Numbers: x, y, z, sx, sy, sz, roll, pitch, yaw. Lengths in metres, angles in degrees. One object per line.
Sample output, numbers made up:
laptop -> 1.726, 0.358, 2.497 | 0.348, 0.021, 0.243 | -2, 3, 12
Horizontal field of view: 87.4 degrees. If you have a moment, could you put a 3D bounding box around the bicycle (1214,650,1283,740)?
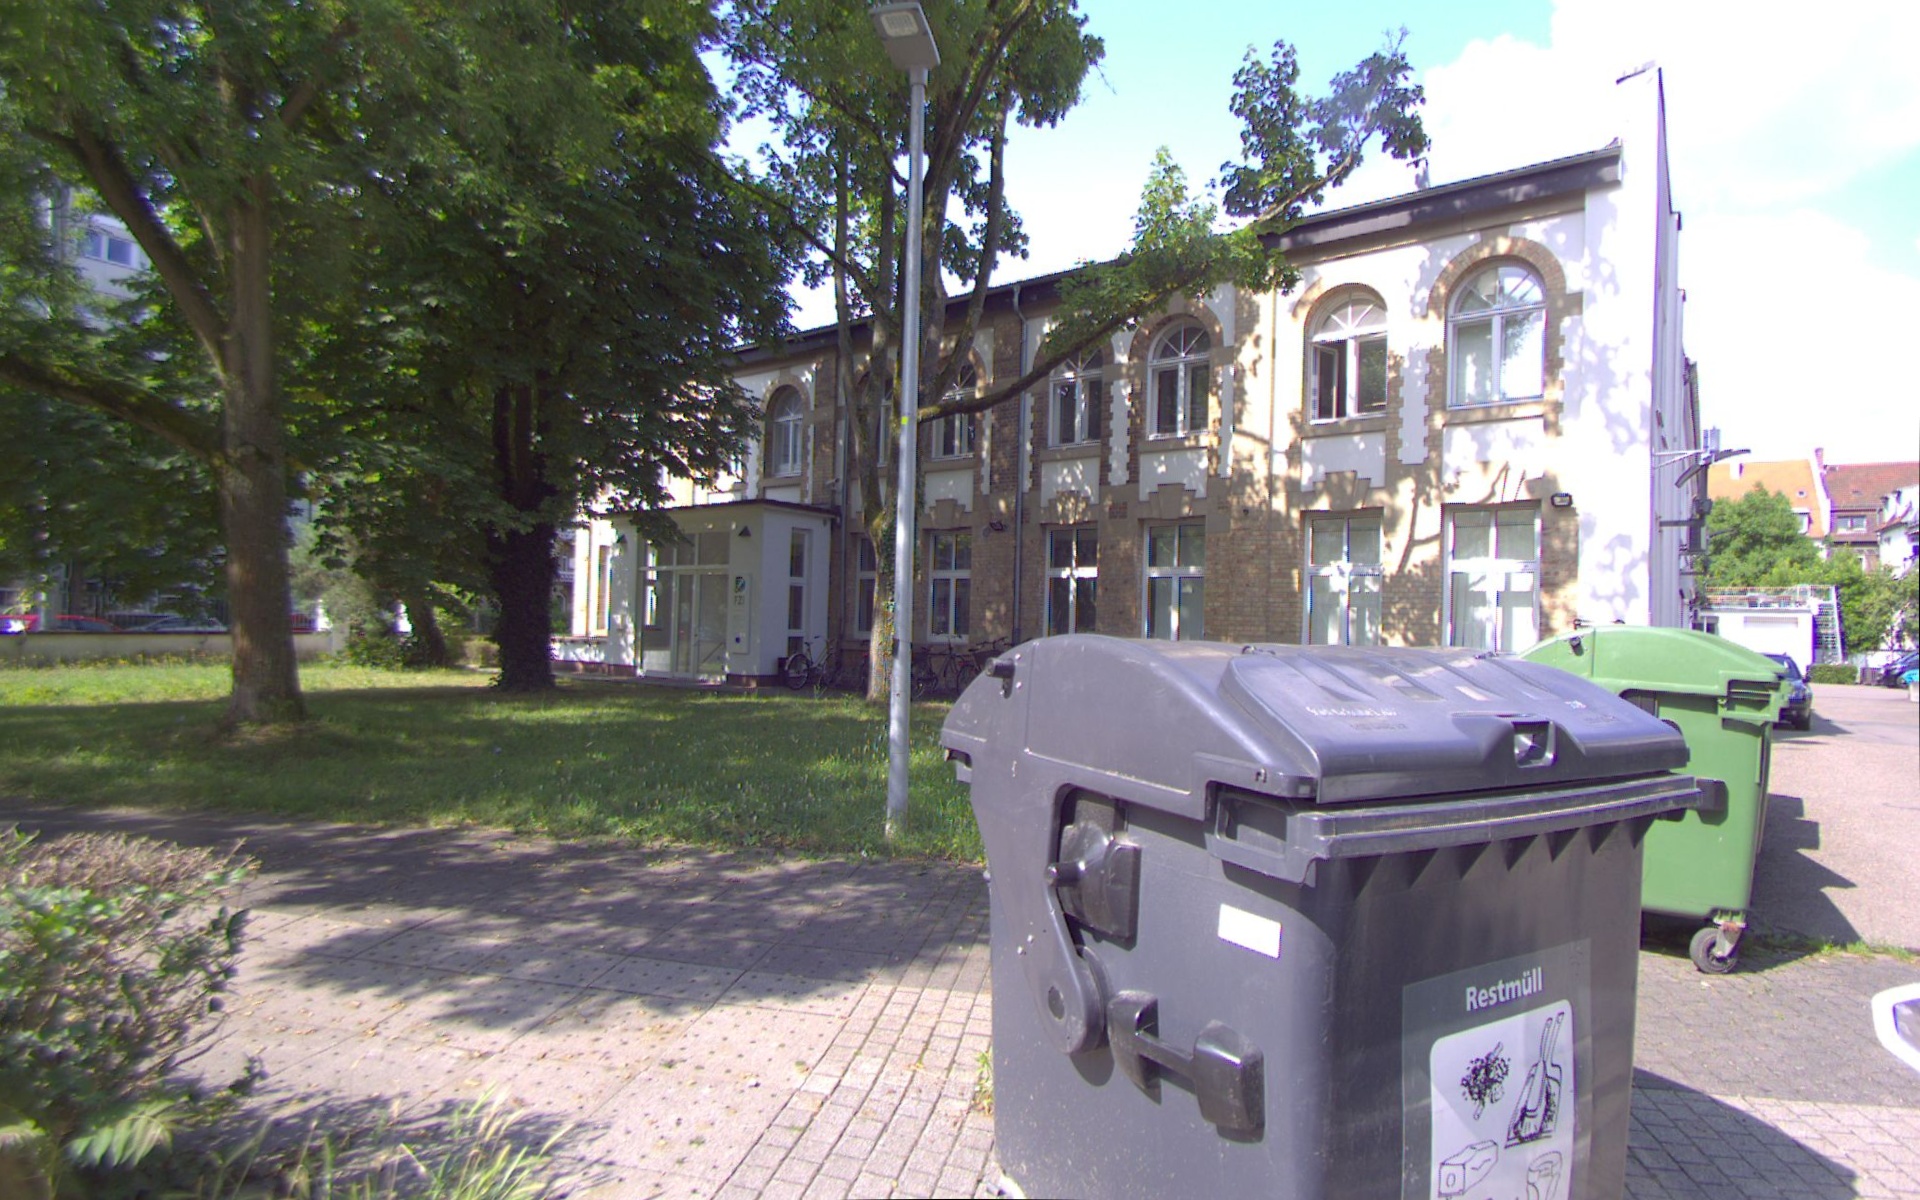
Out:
bicycle -> 4.365, 1.395, 15.121 | 0.352, 1.158, 1.853 | 4, 3, 35

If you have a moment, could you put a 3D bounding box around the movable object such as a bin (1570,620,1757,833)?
movable object such as a bin -> 5.787, 0.950, 8.244 | 1.086, 1.471, 1.337 | 4, 3, 39

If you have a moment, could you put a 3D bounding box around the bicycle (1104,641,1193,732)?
bicycle -> 3.031, 1.339, 16.023 | 0.413, 1.138, 2.056 | 4, 7, 40

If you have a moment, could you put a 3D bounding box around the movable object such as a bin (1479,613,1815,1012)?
movable object such as a bin -> 3.155, 0.852, 4.793 | 1.083, 1.471, 1.340 | 4, 3, 29

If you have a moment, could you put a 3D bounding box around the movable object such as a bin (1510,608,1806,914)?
movable object such as a bin -> 3.984, 0.834, 5.904 | 1.081, 1.471, 1.233 | 3, 3, 21

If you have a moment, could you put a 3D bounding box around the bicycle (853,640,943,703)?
bicycle -> -1.171, 1.347, 19.343 | 0.414, 1.070, 2.056 | 0, 0, 41

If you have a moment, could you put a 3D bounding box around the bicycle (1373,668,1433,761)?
bicycle -> 6.004, 1.512, 13.570 | 0.315, 1.051, 1.853 | 4, 2, 36

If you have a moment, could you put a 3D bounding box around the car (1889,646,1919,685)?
car -> 45.034, 3.022, 45.603 | 3.931, 1.595, 1.624 | 1, 3, 33

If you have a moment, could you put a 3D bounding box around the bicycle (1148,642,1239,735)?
bicycle -> 3.629, 1.320, 15.468 | 0.413, 1.232, 2.056 | 4, 3, 41

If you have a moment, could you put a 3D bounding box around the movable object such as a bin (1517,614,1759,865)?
movable object such as a bin -> 4.784, 0.882, 7.070 | 1.209, 1.471, 1.277 | 4, 1, 40

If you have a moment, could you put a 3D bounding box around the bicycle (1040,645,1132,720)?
bicycle -> 2.132, 1.337, 16.765 | 0.413, 1.070, 2.056 | 4, 3, 41

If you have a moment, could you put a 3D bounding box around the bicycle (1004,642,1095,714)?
bicycle -> 1.569, 1.316, 17.304 | 0.413, 1.070, 2.056 | 4, 3, 41

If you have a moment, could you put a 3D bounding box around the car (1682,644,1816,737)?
car -> 15.583, 1.690, 19.977 | 1.855, 1.461, 4.324 | 4, 1, 37

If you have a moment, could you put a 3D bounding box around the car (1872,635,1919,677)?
car -> 46.595, 2.783, 48.142 | 3.931, 1.842, 1.659 | 4, 3, 32

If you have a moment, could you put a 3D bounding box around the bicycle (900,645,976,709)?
bicycle -> -0.385, 1.401, 18.686 | 0.315, 1.051, 1.853 | 4, 2, 35

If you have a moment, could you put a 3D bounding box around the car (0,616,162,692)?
car -> -21.408, 1.221, 24.076 | 1.638, 1.506, 3.280 | 0, 2, 10

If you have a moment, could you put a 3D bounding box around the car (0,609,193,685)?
car -> -20.344, 1.109, 23.542 | 1.645, 1.632, 3.588 | -1, -3, 9

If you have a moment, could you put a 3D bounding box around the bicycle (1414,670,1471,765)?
bicycle -> 6.432, 1.518, 13.352 | 0.315, 1.051, 1.853 | 4, 2, 35

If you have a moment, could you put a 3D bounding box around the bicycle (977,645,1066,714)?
bicycle -> 1.110, 1.369, 17.703 | 0.414, 1.070, 2.056 | 0, 0, 41

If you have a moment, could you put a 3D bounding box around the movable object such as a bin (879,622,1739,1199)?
movable object such as a bin -> 0.692, 0.825, 2.192 | 1.282, 1.501, 1.238 | 3, -2, -33
